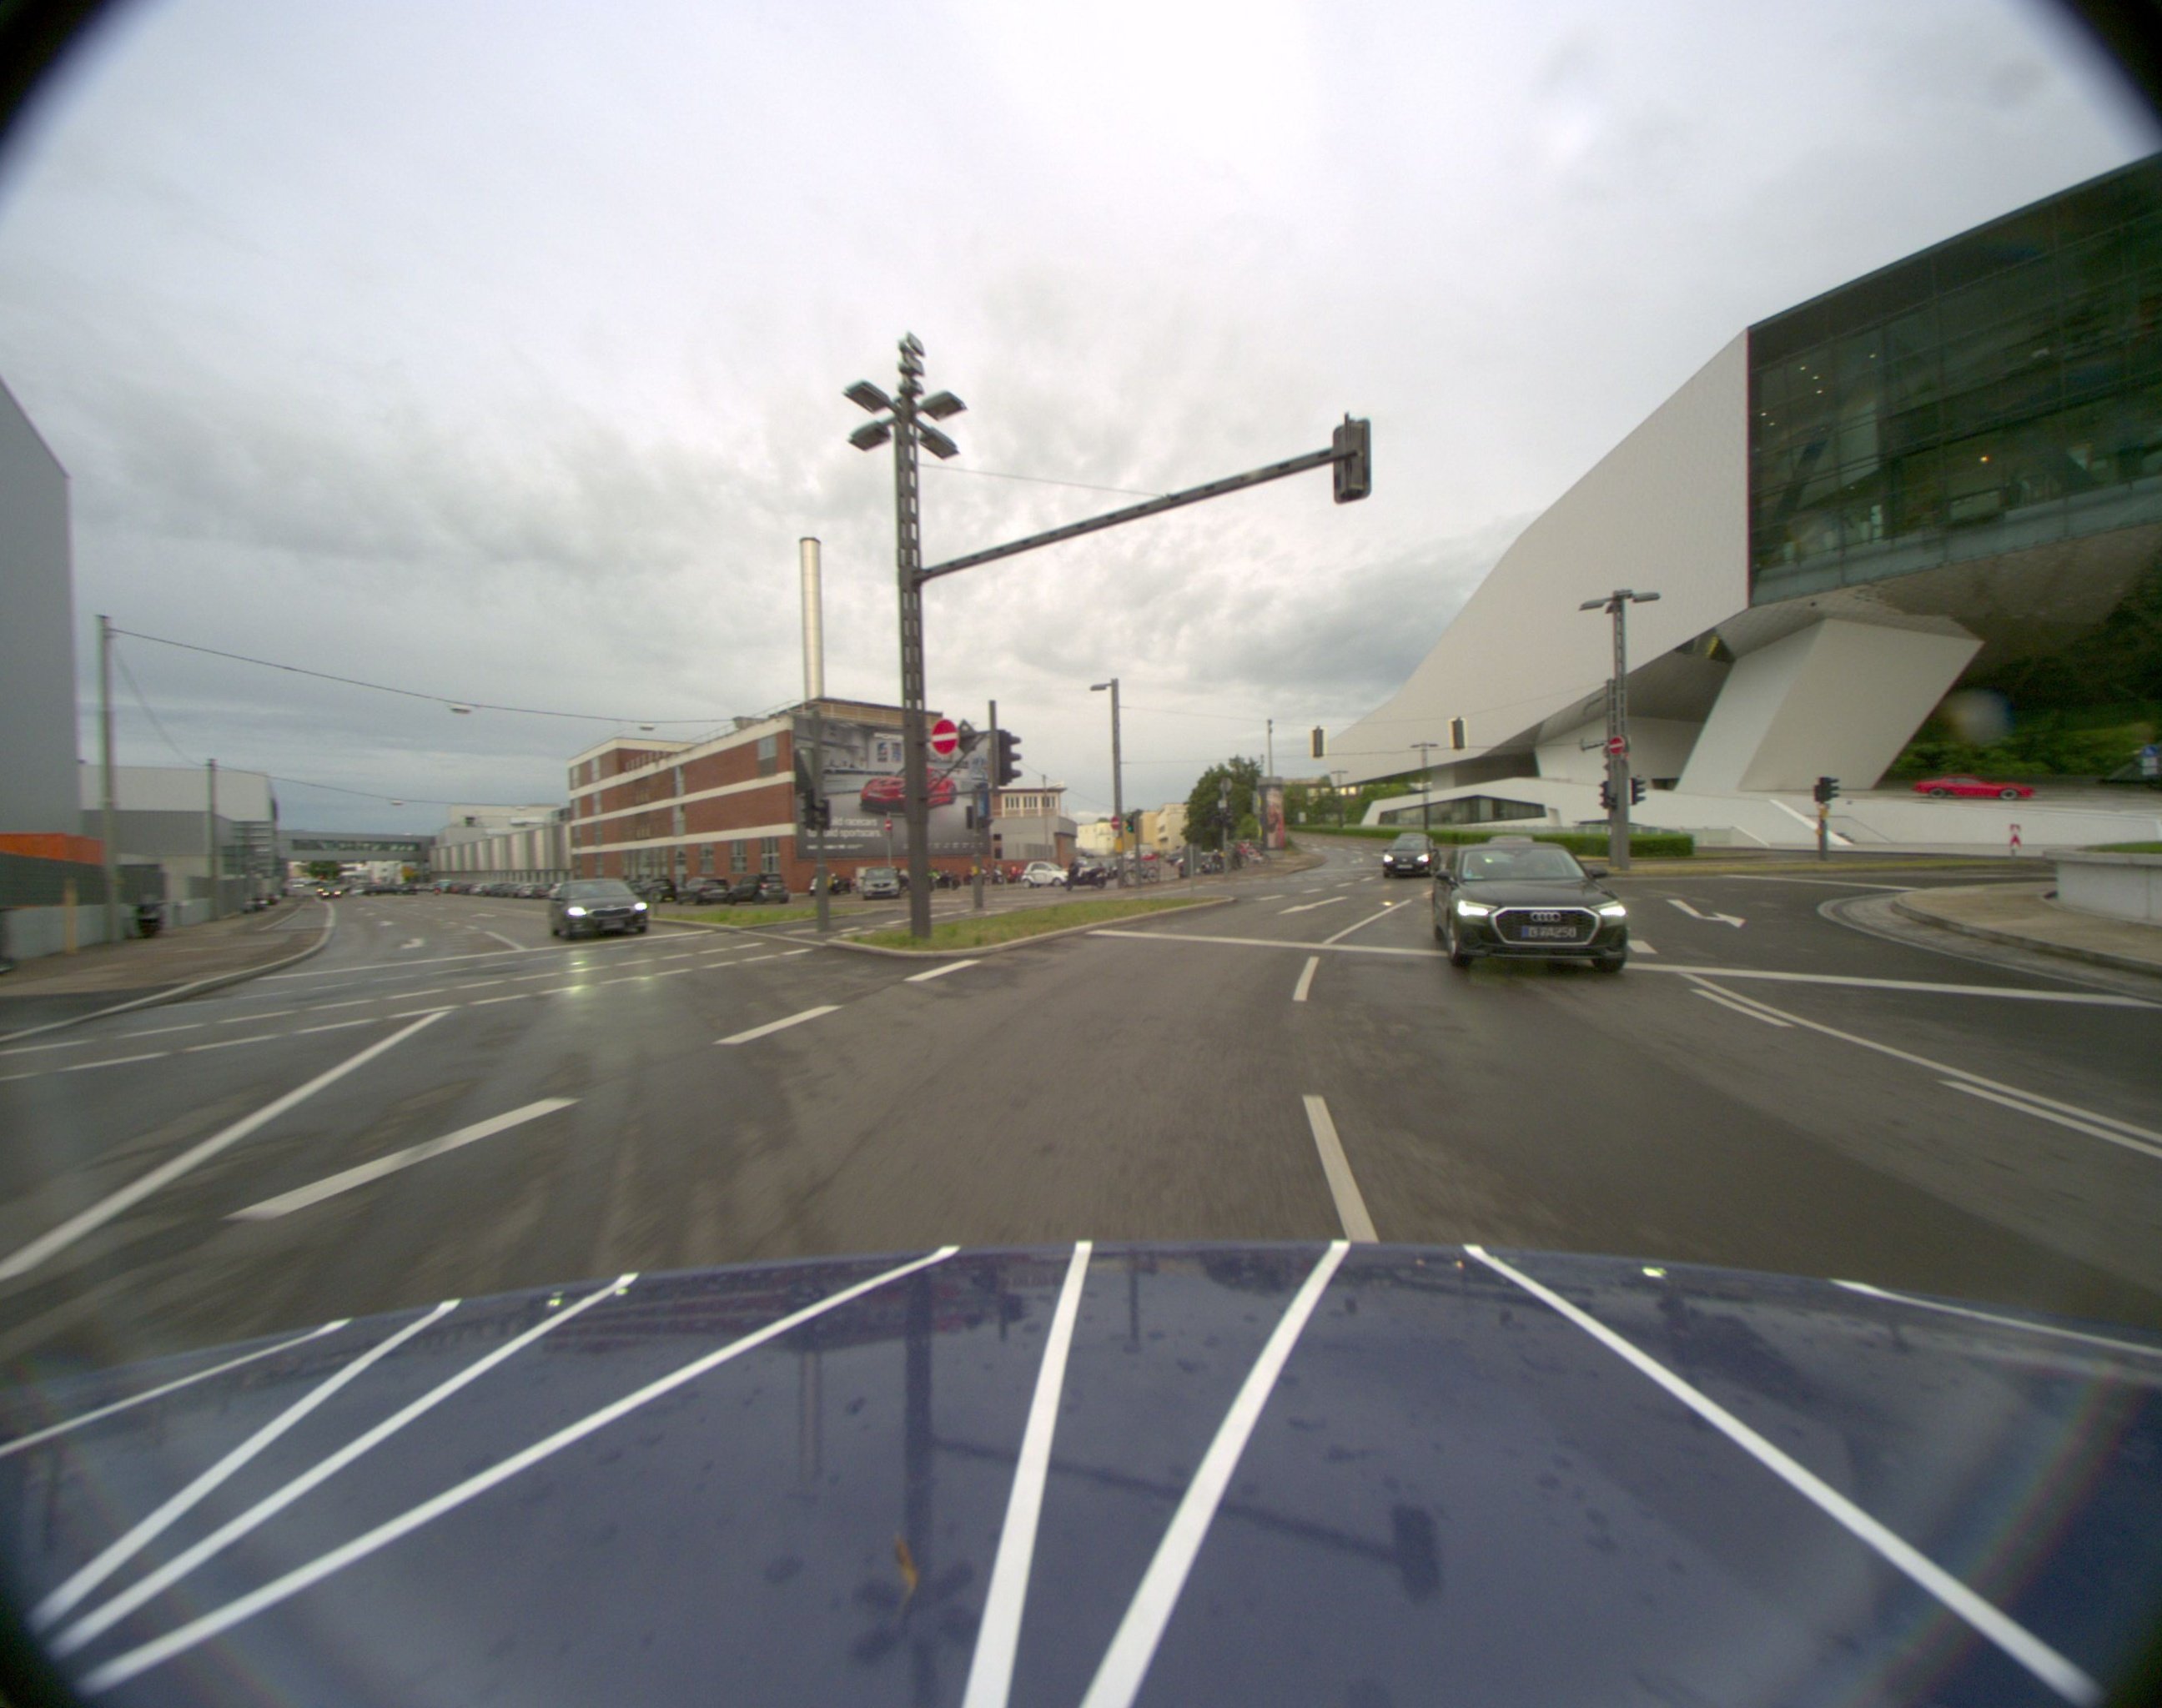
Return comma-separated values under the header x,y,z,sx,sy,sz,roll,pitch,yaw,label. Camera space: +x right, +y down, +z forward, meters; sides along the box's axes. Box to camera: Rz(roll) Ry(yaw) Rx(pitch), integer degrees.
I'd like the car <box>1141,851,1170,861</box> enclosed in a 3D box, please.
x,y,z,sx,sy,sz,roll,pitch,yaw,label
11.329,0.281,115.394,3.999,1.417,1.720,-3,1,-5,car

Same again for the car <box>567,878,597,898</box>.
x,y,z,sx,sy,sz,roll,pitch,yaw,label
-40.837,2.779,62.162,1.462,1.436,3.379,-6,3,-42,car

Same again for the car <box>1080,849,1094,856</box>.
x,y,z,sx,sy,sz,roll,pitch,yaw,label
1.260,-0.323,160.084,1.721,1.417,3.995,-3,1,-15,car

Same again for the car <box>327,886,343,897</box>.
x,y,z,sx,sy,sz,roll,pitch,yaw,label
-112.936,5.636,115.051,3.989,1.550,1.617,-2,1,45,car

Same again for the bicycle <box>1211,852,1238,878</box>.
x,y,z,sx,sy,sz,roll,pitch,yaw,label
6.903,0.516,36.560,0.346,1.078,1.747,0,4,43,bicycle

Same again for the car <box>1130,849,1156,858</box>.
x,y,z,sx,sy,sz,roll,pitch,yaw,label
10.492,-0.071,128.646,3.999,1.417,1.720,-3,1,-5,car

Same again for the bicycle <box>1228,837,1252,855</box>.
x,y,z,sx,sy,sz,roll,pitch,yaw,label
10.462,-0.517,49.995,1.543,1.149,0.451,-1,4,4,bicycle

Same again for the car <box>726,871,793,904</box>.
x,y,z,sx,sy,sz,roll,pitch,yaw,label
-15.775,1.655,37.289,2.745,1.484,1.557,-3,-1,25,car

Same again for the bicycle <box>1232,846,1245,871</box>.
x,y,z,sx,sy,sz,roll,pitch,yaw,label
8.068,0.224,38.897,0.399,1.169,2.017,-2,3,18,bicycle

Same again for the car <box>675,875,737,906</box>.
x,y,z,sx,sy,sz,roll,pitch,yaw,label
-20.162,1.940,40.733,4.094,1.436,1.571,-2,3,44,car

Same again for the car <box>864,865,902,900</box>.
x,y,z,sx,sy,sz,roll,pitch,yaw,label
-9.490,1.331,36.381,1.626,1.495,3.243,-3,1,-16,car

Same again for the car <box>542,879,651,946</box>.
x,y,z,sx,sy,sz,roll,pitch,yaw,label
-12.441,1.398,19.422,1.724,1.417,3.989,-4,1,-41,car

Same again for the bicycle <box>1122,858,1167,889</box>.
x,y,z,sx,sy,sz,roll,pitch,yaw,label
2.738,0.812,32.641,2.076,1.124,0.420,-5,3,-34,bicycle

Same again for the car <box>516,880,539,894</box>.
x,y,z,sx,sy,sz,roll,pitch,yaw,label
-56.278,3.327,77.280,1.462,1.234,3.362,-6,3,-42,car

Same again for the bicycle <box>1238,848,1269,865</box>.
x,y,z,sx,sy,sz,roll,pitch,yaw,label
9.692,0.140,42.673,1.613,0.916,0.422,-2,2,21,bicycle

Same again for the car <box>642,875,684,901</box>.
x,y,z,sx,sy,sz,roll,pitch,yaw,label
-26.119,2.102,47.457,1.462,1.436,3.455,-6,3,-42,car

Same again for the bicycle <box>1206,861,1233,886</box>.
x,y,z,sx,sy,sz,roll,pitch,yaw,label
6.805,0.963,37.285,0.346,1.078,1.747,0,4,43,bicycle

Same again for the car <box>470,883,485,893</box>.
x,y,z,sx,sy,sz,roll,pitch,yaw,label
-85.764,4.829,107.950,1.462,1.234,3.362,-6,3,-42,car

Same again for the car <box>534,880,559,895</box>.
x,y,z,sx,sy,sz,roll,pitch,yaw,label
-51.316,3.207,72.890,1.462,1.234,3.362,-6,3,-42,car

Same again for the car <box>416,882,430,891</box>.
x,y,z,sx,sy,sz,roll,pitch,yaw,label
-99.374,4.877,114.669,1.462,1.234,3.362,-6,3,-42,car

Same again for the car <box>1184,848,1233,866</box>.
x,y,z,sx,sy,sz,roll,pitch,yaw,label
11.509,0.315,68.747,3.991,1.417,1.723,-2,1,24,car

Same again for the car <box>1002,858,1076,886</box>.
x,y,z,sx,sy,sz,roll,pitch,yaw,label
-2.451,1.059,44.888,3.992,1.480,1.570,-3,1,18,car

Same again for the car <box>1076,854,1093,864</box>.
x,y,z,sx,sy,sz,roll,pitch,yaw,label
0.508,0.709,117.463,1.721,1.417,3.996,-3,1,-11,car

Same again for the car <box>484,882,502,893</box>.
x,y,z,sx,sy,sz,roll,pitch,yaw,label
-74.460,4.264,96.205,1.462,1.234,3.362,-6,3,-42,car

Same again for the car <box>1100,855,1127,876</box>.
x,y,z,sx,sy,sz,roll,pitch,yaw,label
3.034,1.019,70.161,1.781,1.657,4.508,-3,1,12,car

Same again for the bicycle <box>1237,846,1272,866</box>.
x,y,z,sx,sy,sz,roll,pitch,yaw,label
9.144,0.123,39.955,1.742,0.956,0.422,-2,3,17,bicycle

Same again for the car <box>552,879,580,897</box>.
x,y,z,sx,sy,sz,roll,pitch,yaw,label
-44.844,2.922,66.111,1.462,1.368,3.379,-6,3,-42,car

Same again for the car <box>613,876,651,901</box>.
x,y,z,sx,sy,sz,roll,pitch,yaw,label
-30.134,2.300,50.970,1.462,1.436,3.379,-6,3,-42,car

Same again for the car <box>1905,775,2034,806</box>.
x,y,z,sx,sy,sz,roll,pitch,yaw,label
47.352,-3.418,40.578,2.003,1.378,4.230,-3,9,-37,car

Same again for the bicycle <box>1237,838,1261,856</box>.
x,y,z,sx,sy,sz,roll,pitch,yaw,label
10.677,-0.438,48.291,1.463,1.068,0.442,-2,4,-21,bicycle

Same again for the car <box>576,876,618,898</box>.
x,y,z,sx,sy,sz,roll,pitch,yaw,label
-37.183,2.514,58.362,3.379,1.436,1.700,-2,3,41,car

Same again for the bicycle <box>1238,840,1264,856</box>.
x,y,z,sx,sy,sz,roll,pitch,yaw,label
11.074,-0.402,49.352,1.706,0.917,0.485,-3,3,-27,bicycle

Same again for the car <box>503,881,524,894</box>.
x,y,z,sx,sy,sz,roll,pitch,yaw,label
-63.887,3.735,85.527,1.462,1.234,3.362,-6,3,-42,car
